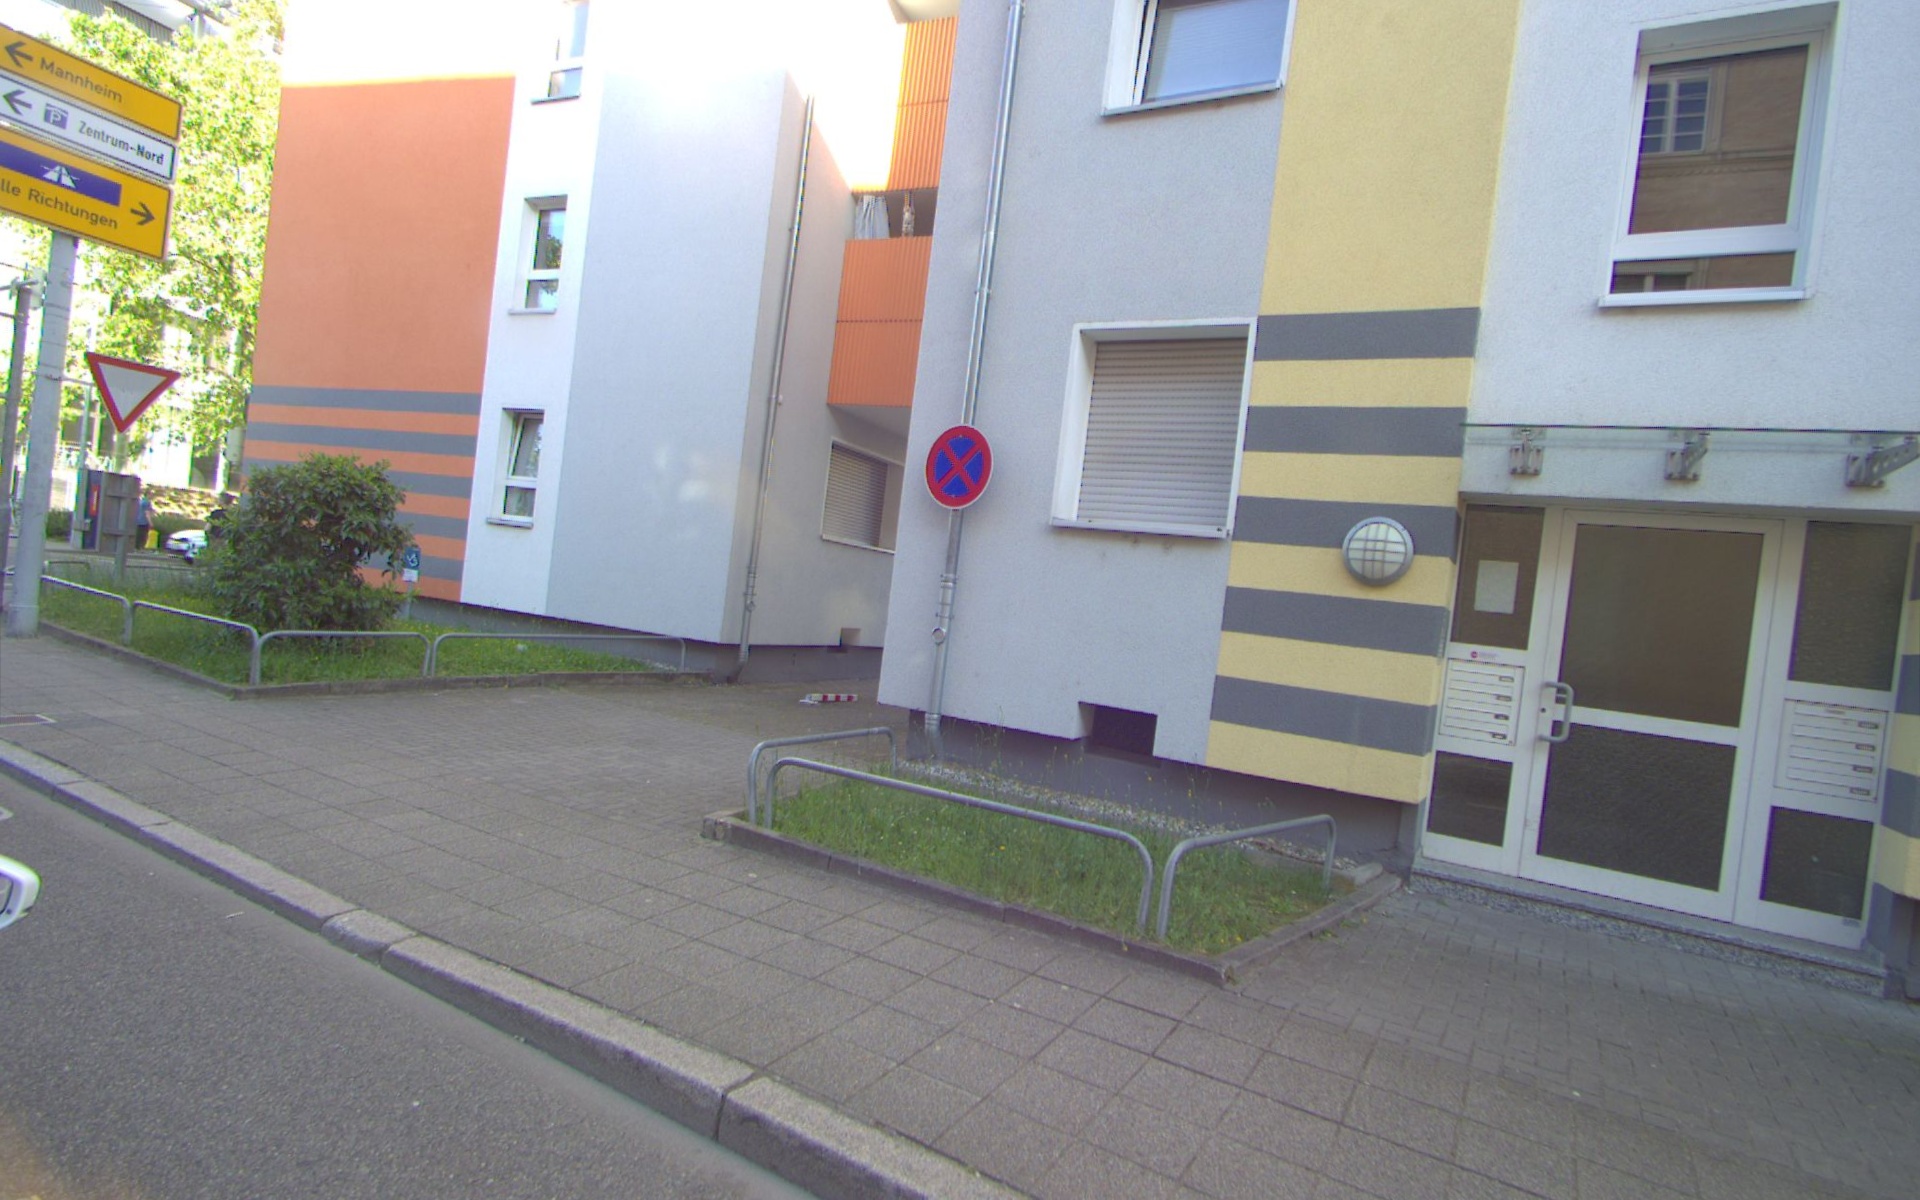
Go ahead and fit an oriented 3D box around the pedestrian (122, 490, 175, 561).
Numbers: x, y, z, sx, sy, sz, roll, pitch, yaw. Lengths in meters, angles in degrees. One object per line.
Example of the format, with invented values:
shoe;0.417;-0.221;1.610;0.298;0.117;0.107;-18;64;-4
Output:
pedestrian;-23.114;-2.130;28.665;0.698;1.861;0.835;8;-1;35

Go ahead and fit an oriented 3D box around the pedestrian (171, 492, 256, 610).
pedestrian;-12.685;-0.826;17.098;0.823;1.861;0.708;8;-1;32

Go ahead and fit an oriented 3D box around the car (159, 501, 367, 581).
car;-19.273;-1.586;28.009;1.794;1.595;4.325;7;0;31

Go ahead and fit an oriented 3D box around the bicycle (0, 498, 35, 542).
bicycle;-26.307;-2.242;27.365;1.658;1.063;0.508;9;2;-3
